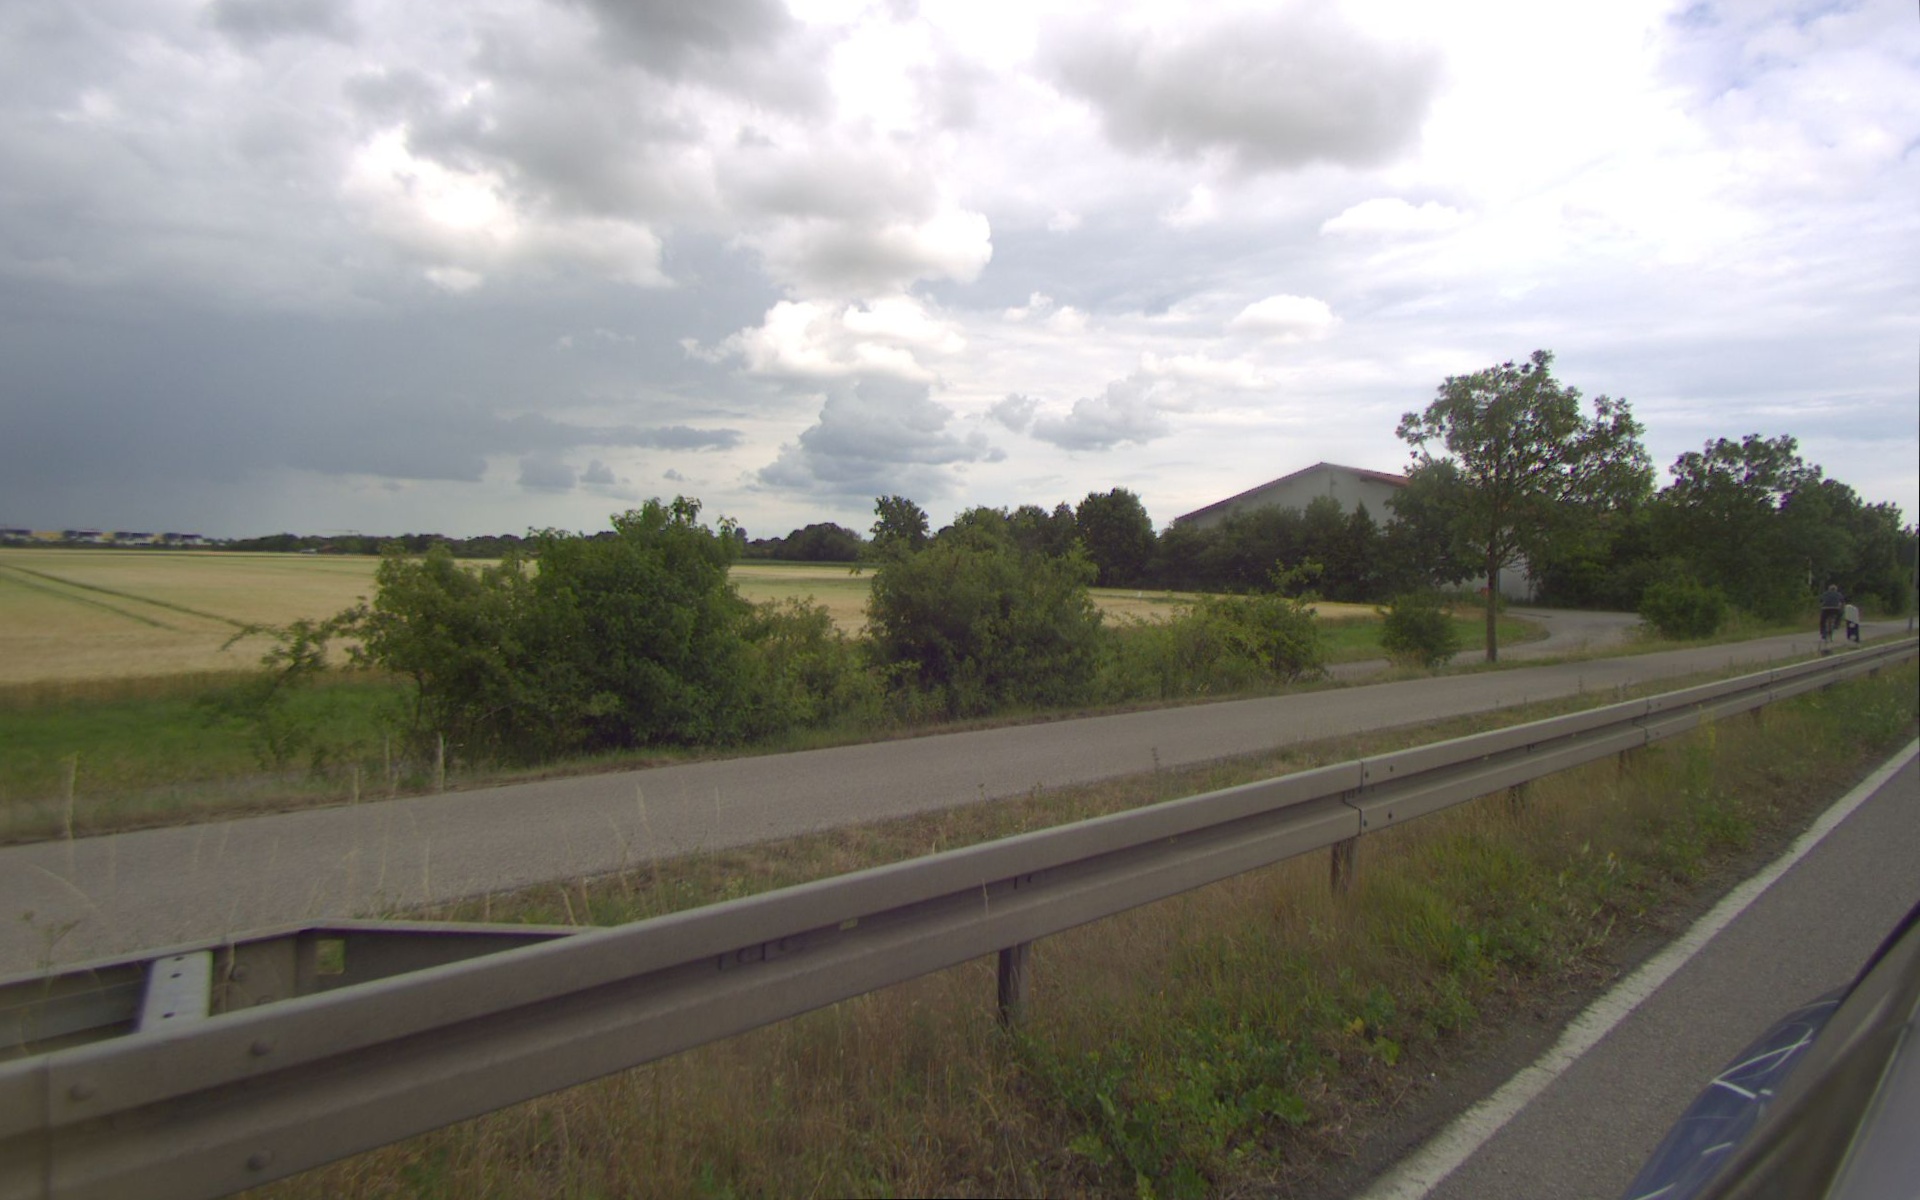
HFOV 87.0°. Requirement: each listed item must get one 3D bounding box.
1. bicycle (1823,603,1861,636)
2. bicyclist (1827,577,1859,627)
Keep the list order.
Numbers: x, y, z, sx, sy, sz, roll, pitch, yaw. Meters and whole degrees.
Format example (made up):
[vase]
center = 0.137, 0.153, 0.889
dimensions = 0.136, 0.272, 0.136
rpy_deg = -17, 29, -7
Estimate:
[bicycle]
center = 28.494, 0.628, 32.669
dimensions = 2.037, 0.990, 0.640
rpy_deg = -1, 2, -41
[bicyclist]
center = 28.486, 0.050, 32.649
dimensions = 0.952, 1.602, 0.640
rpy_deg = 0, 1, -41
